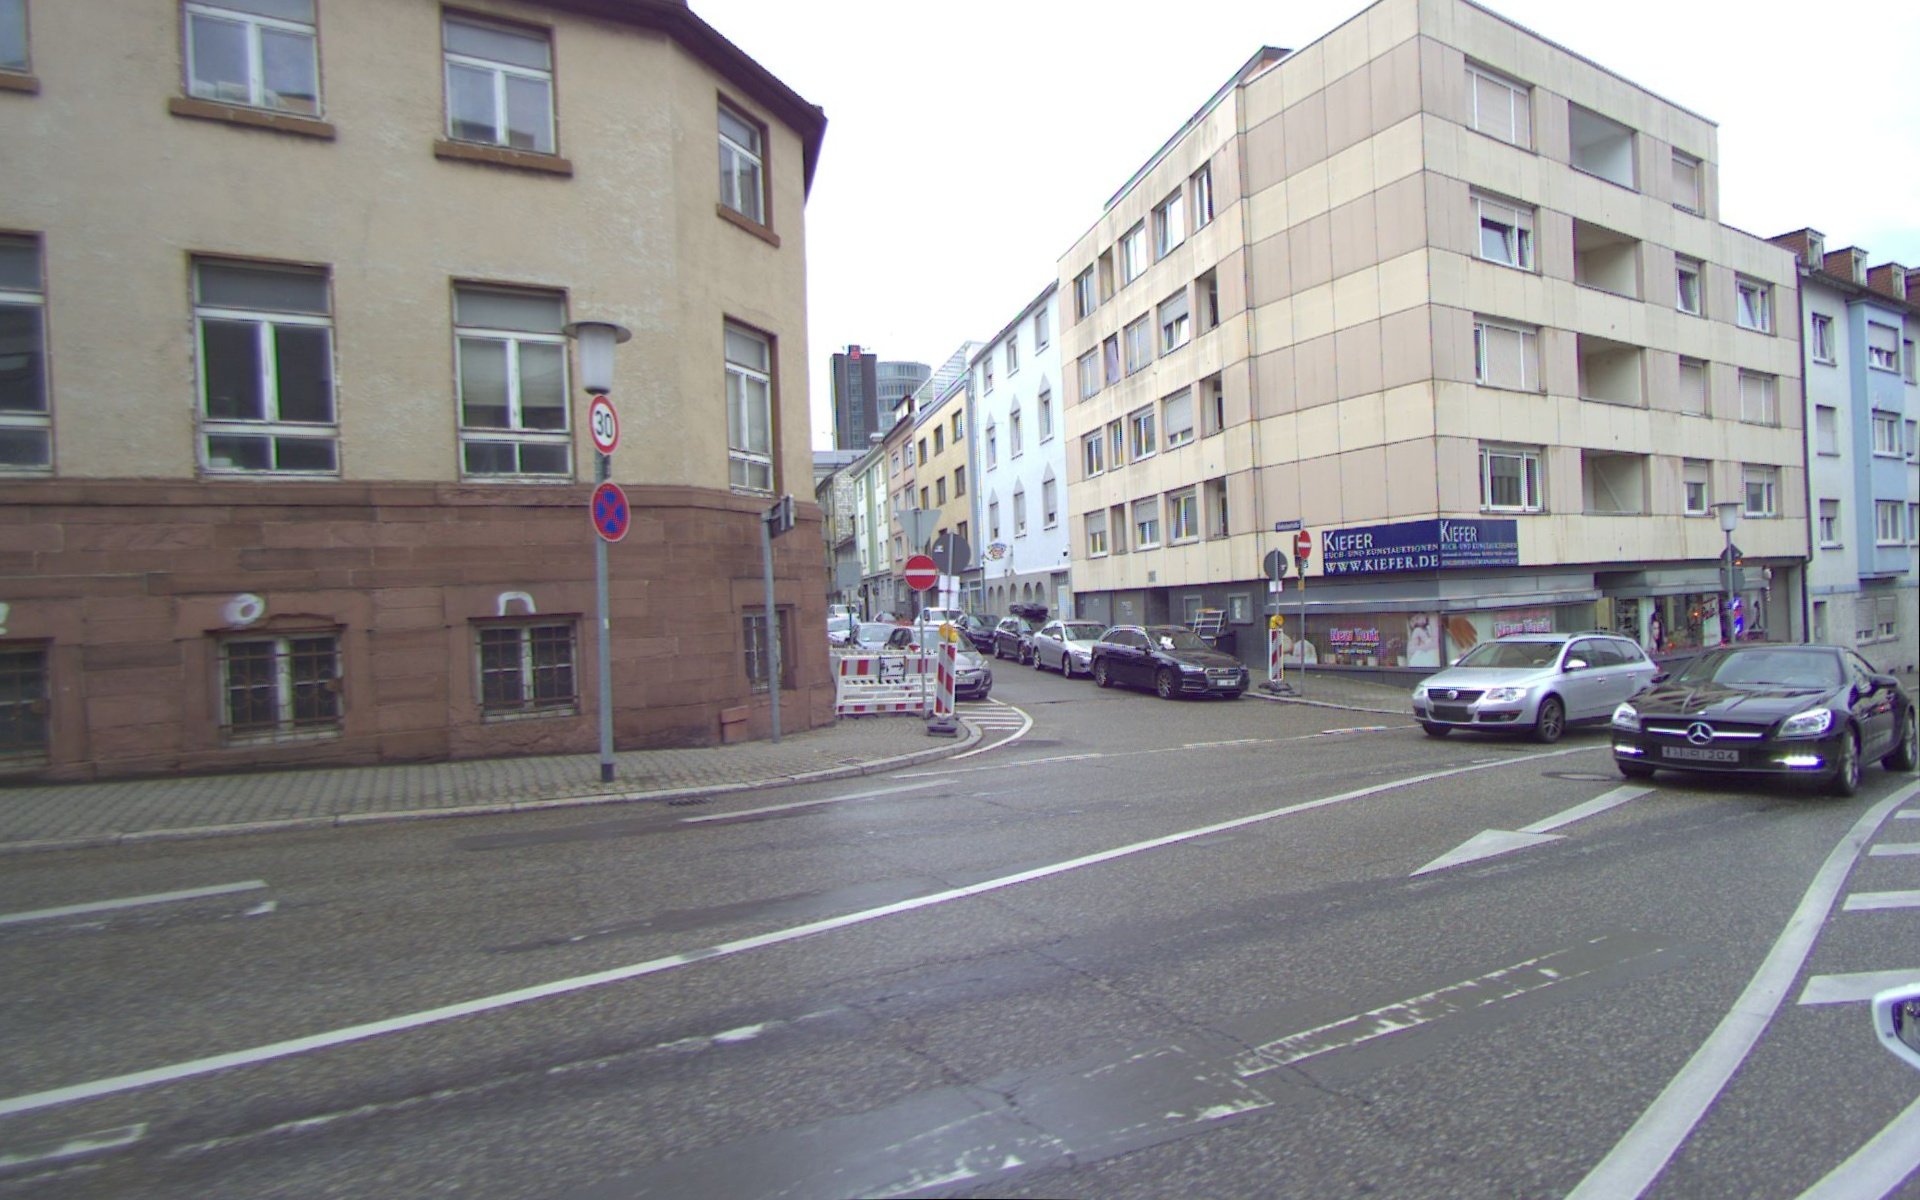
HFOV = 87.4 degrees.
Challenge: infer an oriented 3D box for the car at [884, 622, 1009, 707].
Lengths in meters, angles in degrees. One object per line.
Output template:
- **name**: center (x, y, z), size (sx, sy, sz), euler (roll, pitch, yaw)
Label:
- **car**: center (-0.405, 1.343, 22.303), size (1.701, 1.531, 3.985), euler (-2, 1, -17)

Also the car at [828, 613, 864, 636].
- **car**: center (-8.166, 1.747, 71.663), size (1.866, 1.532, 4.333), euler (1, -1, -15)

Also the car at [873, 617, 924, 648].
- **car**: center (-3.294, 1.697, 53.113), size (1.866, 1.532, 4.333), euler (1, -1, -15)

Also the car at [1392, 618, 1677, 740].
- **car**: center (8.536, 1.129, 14.796), size (4.594, 1.559, 1.735), euler (2, -4, -33)

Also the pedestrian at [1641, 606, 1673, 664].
- **pedestrian**: center (21.621, 1.072, 31.162), size (0.566, 1.753, 0.595), euler (-4, 2, -34)

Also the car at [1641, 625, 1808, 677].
- **car**: center (24.615, 1.599, 32.477), size (1.780, 1.519, 3.964), euler (2, -2, -33)

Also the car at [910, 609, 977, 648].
- **car**: center (-0.756, 1.193, 43.032), size (1.866, 1.532, 4.333), euler (1, -1, -15)

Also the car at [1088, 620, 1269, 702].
- **car**: center (4.642, 1.256, 22.064), size (1.869, 1.532, 4.327), euler (1, -1, -20)

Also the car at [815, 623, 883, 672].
- **car**: center (-4.083, 1.677, 36.496), size (1.701, 1.531, 3.907), euler (-2, 1, -17)

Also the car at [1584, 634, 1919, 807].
- **car**: center (8.047, 1.038, 10.036), size (4.104, 1.335, 1.702), euler (1, -2, -37)

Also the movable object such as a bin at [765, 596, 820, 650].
- **movable object such as a bin**: center (-6.052, 0.781, 36.063), size (1.375, 1.755, 3.475), euler (-3, 1, -18)

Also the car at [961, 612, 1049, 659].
- **car**: center (1.504, 1.209, 35.463), size (1.866, 1.532, 4.333), euler (1, -1, -15)

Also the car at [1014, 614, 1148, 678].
- **car**: center (3.167, 1.186, 27.253), size (1.869, 1.532, 4.327), euler (1, -1, -20)

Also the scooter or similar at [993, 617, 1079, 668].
- **scooter or similar**: center (2.312, 1.276, 31.206), size (1.665, 1.346, 3.080), euler (-4, 1, -15)
